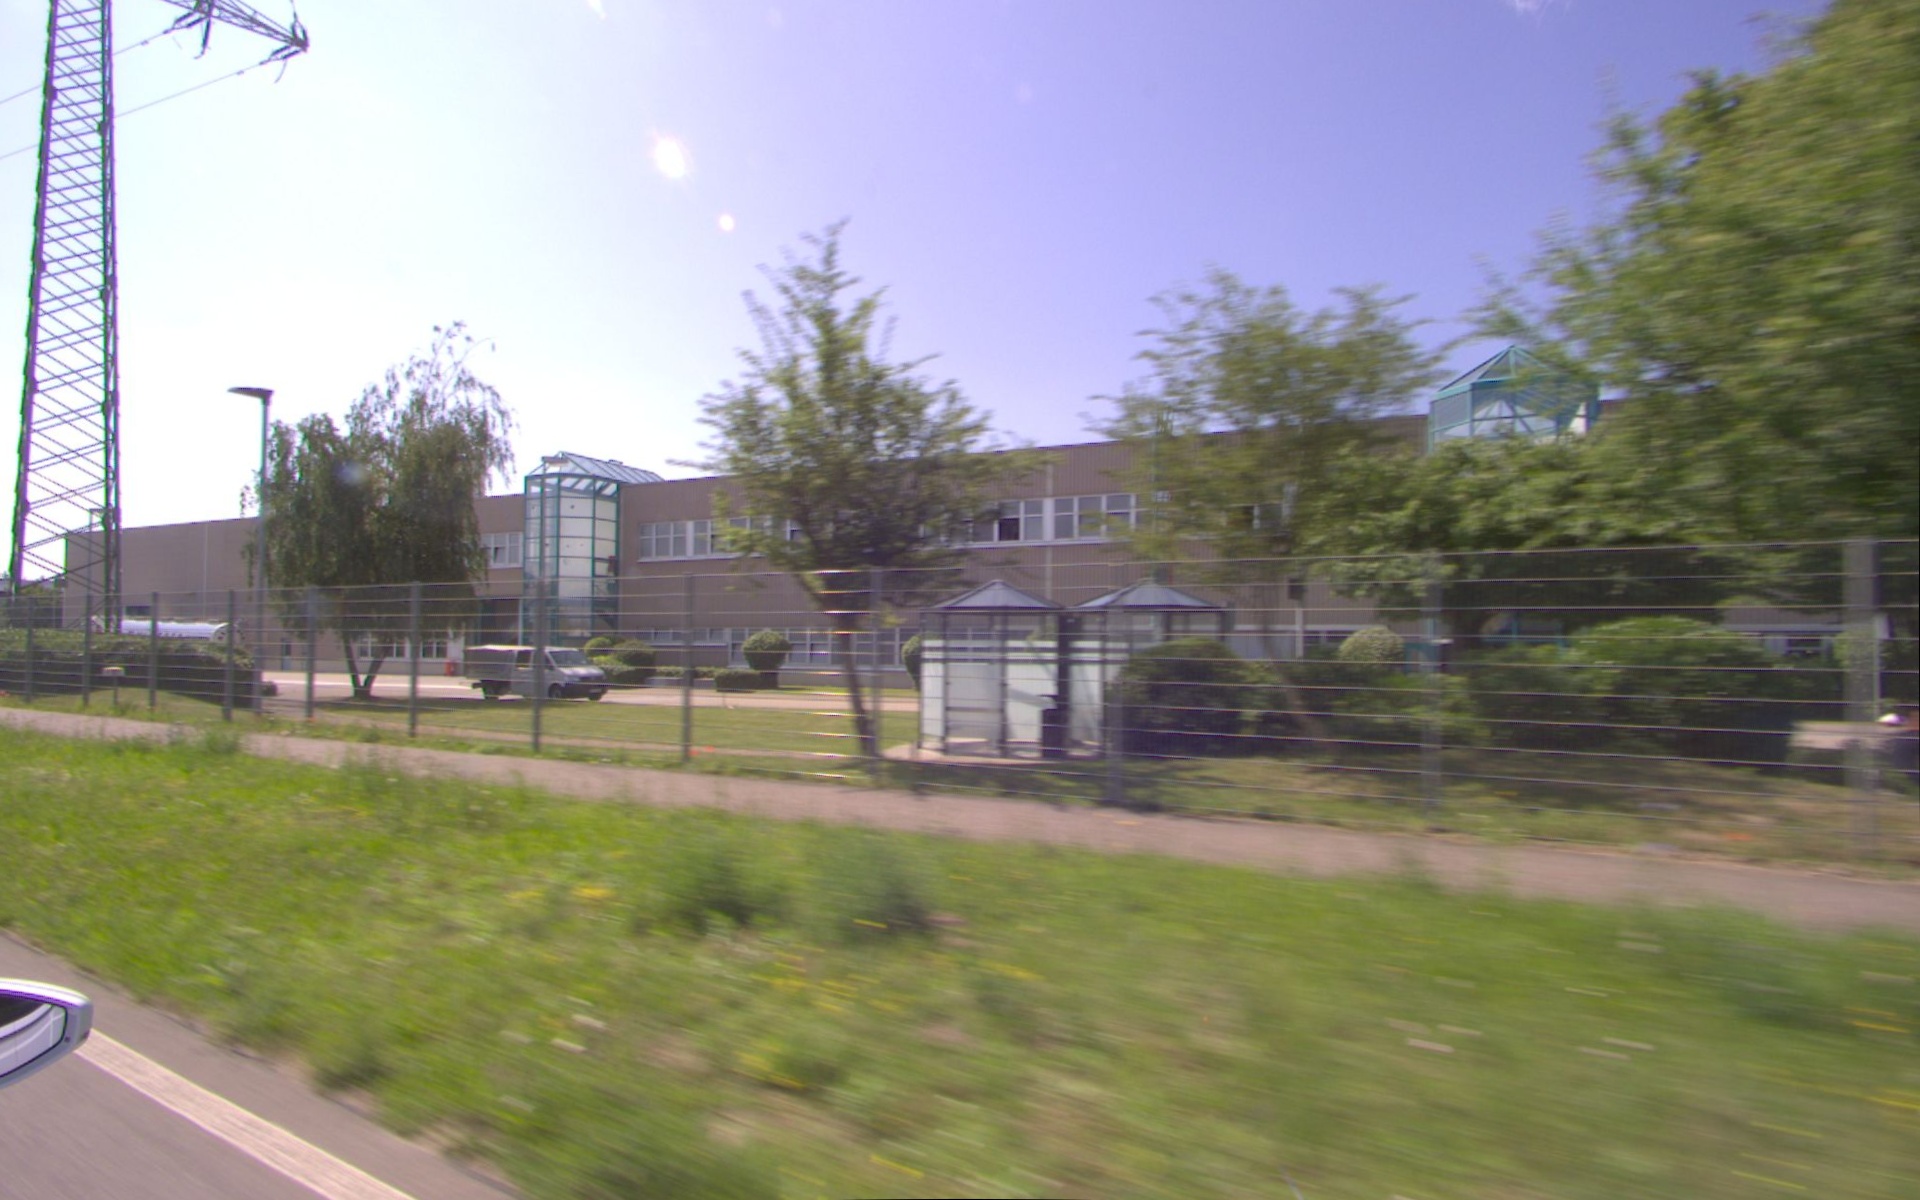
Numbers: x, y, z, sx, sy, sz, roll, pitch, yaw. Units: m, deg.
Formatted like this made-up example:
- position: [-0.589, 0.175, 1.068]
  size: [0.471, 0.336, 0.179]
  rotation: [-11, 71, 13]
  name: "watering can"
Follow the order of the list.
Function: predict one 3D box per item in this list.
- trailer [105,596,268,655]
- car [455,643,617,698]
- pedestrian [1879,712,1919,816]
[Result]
- position: [-52.844, 1.729, 68.293]
  size: [12.036, 3.783, 3.592]
  rotation: [0, -1, 25]
  name: "trailer"
- position: [-15.288, 2.488, 36.112]
  size: [5.560, 1.801, 2.112]
  rotation: [0, -3, 24]
  name: "car"
- position: [8.894, 1.498, 9.121]
  size: [0.656, 0.904, 0.510]
  rotation: [0, -3, 30]
  name: "pedestrian"
